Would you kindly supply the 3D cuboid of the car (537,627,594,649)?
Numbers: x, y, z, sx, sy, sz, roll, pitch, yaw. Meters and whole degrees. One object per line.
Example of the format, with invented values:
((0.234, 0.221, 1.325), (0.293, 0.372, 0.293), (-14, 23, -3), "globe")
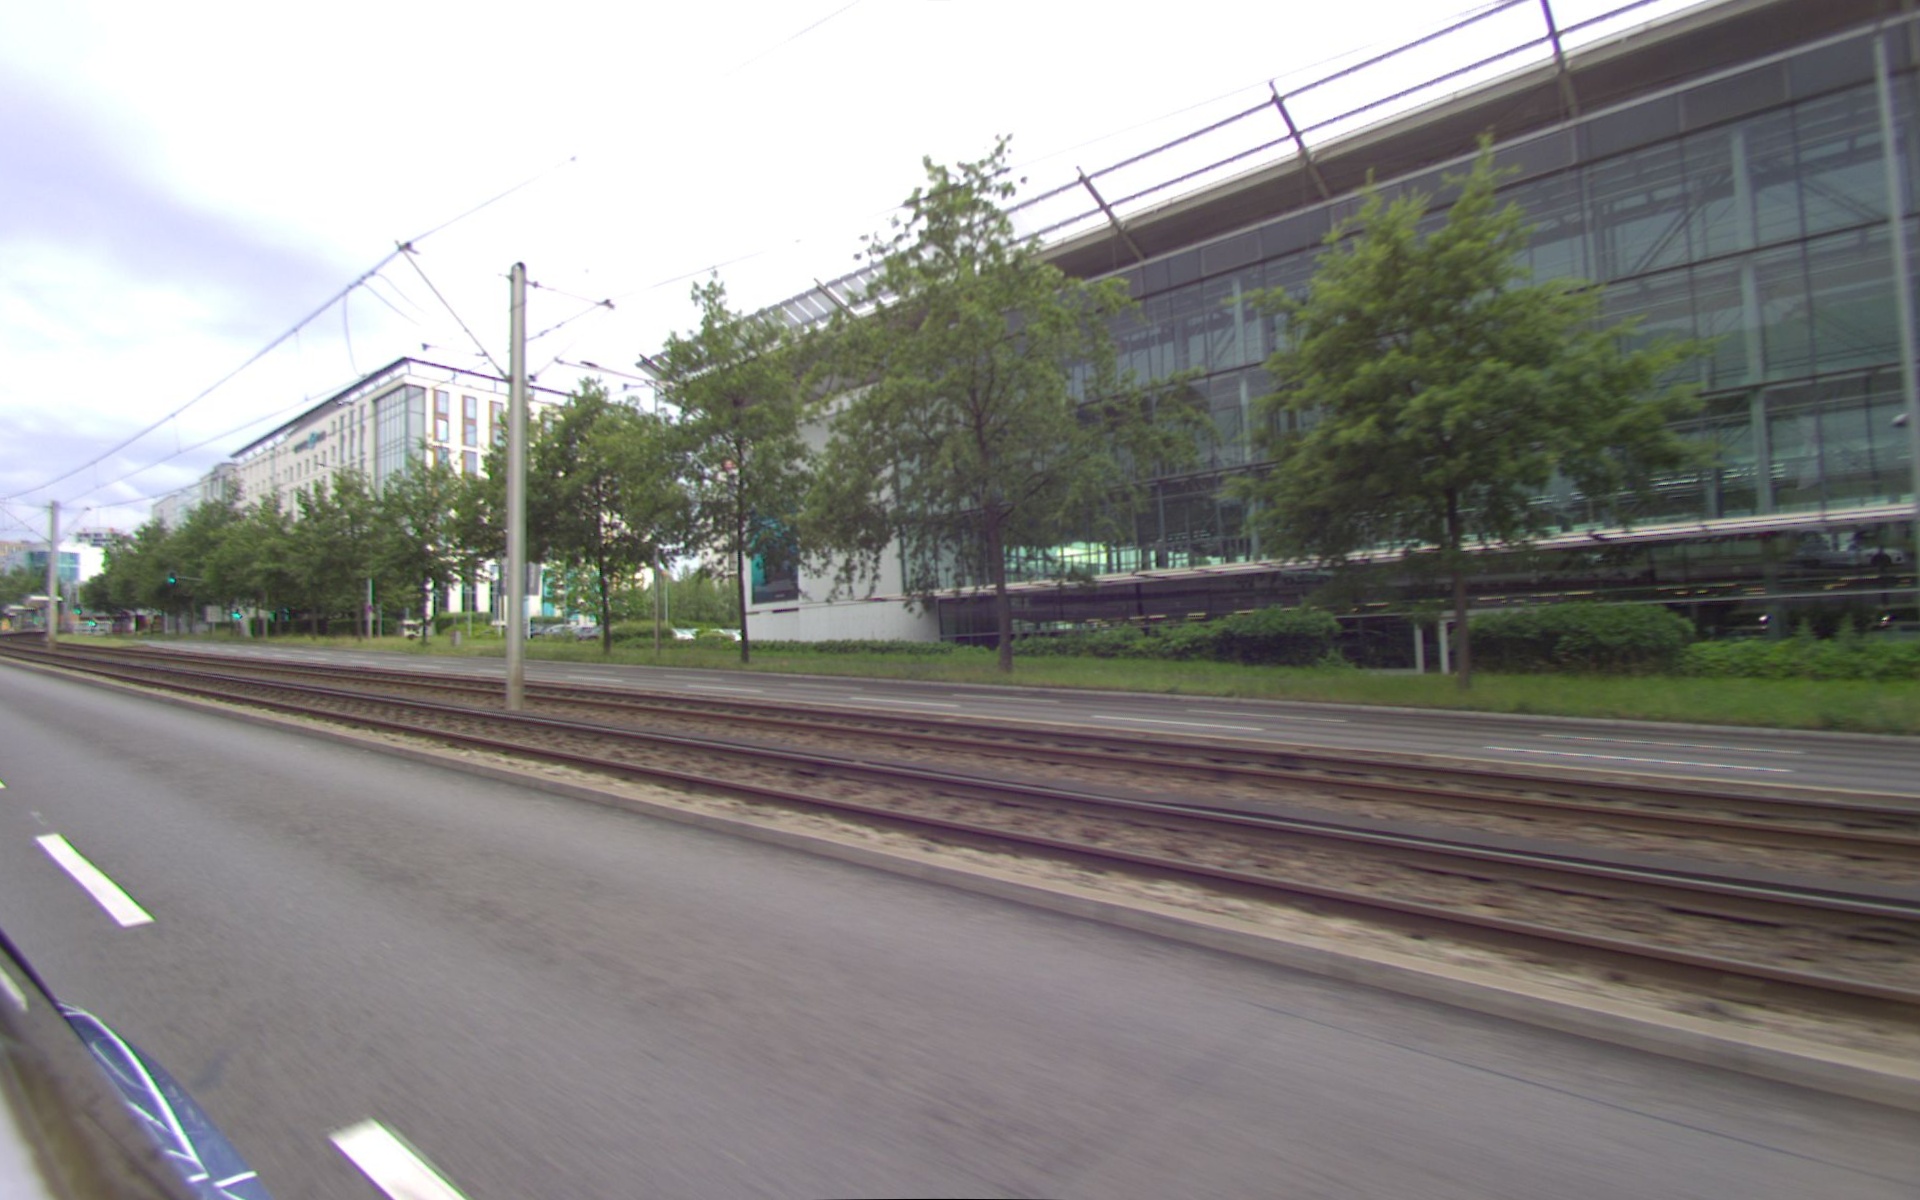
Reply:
((-29.317, 2.813, 75.213), (3.931, 1.401, 1.770), (-1, 0, -22), "car")

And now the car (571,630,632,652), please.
((-25.089, 2.843, 70.884), (3.931, 1.401, 1.809), (-1, 0, -22), "car")

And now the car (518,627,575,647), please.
((-31.581, 2.810, 77.330), (3.931, 1.401, 1.809), (-1, 0, -22), "car")

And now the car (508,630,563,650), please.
((-33.458, 3.104, 79.791), (3.931, 1.401, 1.809), (-1, 0, -22), "car")
